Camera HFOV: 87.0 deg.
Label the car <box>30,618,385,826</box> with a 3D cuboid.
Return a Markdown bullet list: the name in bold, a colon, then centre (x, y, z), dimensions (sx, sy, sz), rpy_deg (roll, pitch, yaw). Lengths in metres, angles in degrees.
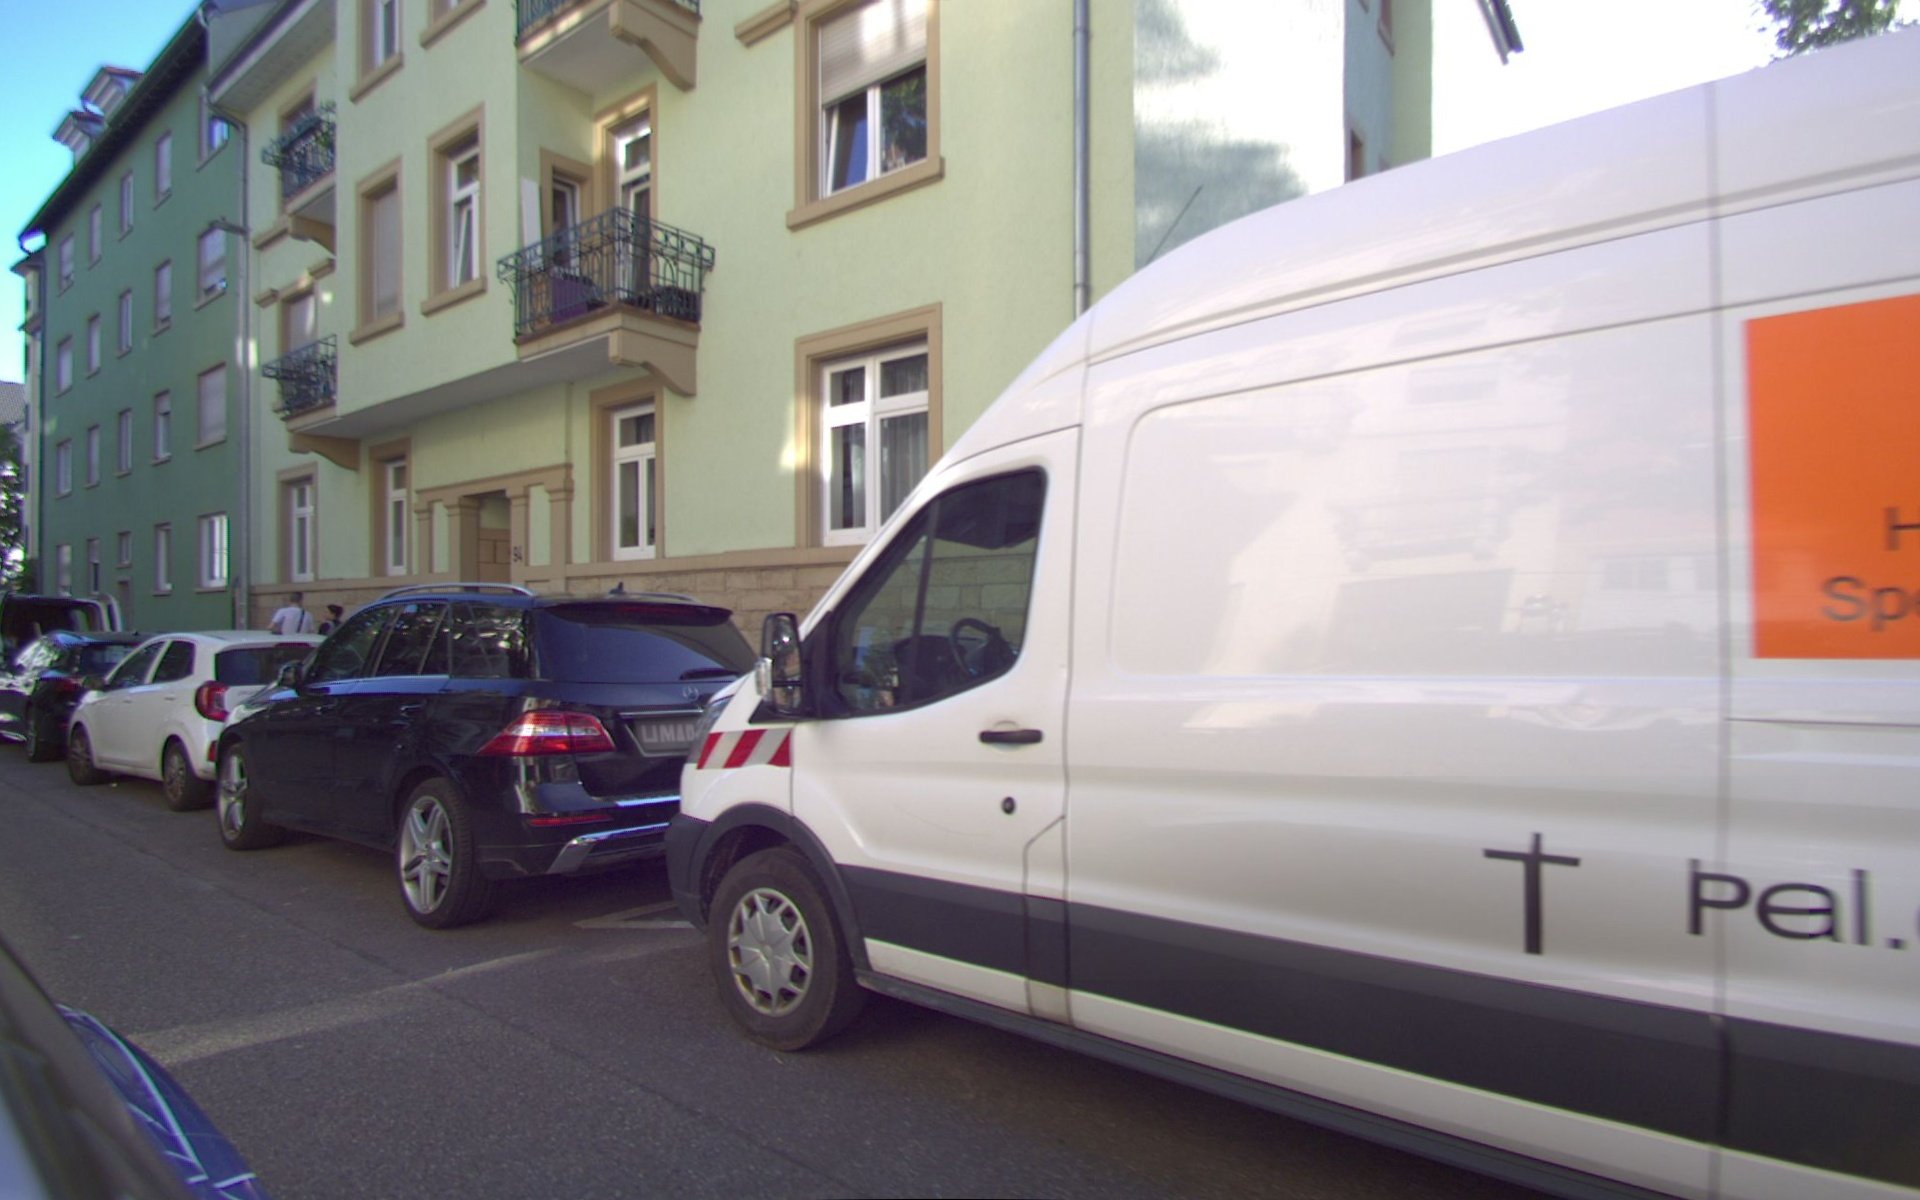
- **car**: centre (-7.249, 0.975, 9.614), dimensions (4.082, 1.564, 1.620), rpy_deg (-1, -2, 38)

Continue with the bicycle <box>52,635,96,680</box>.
- **bicycle**: centre (-23.577, 1.513, 26.921), dimensions (1.967, 1.083, 0.482), rpy_deg (-1, 2, 38)

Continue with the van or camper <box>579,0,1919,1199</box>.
- **van or camper**: centre (1.424, 0.235, 3.157), dimensions (5.843, 2.790, 2.108), rpy_deg (-1, -4, 38)

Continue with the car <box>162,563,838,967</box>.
- **car**: centre (-3.223, 0.781, 6.548), dimensions (4.962, 1.698, 1.857), rpy_deg (-1, -4, 38)

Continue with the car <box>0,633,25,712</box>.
- **car**: centre (-20.103, 1.365, 19.835), dimensions (4.356, 1.473, 1.816), rpy_deg (-1, -4, 37)

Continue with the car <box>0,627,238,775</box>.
- **car**: centre (-10.892, 1.117, 12.666), dimensions (4.818, 1.533, 1.749), rpy_deg (-1, -3, 38)

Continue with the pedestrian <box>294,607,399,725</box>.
- **pedestrian**: centre (-9.220, 0.954, 15.212), dimensions (1.241, 1.688, 0.983), rpy_deg (-1, -1, 37)

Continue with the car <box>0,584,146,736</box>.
- **car**: centre (-15.570, 0.928, 16.504), dimensions (5.233, 2.185, 2.231), rpy_deg (-1, -4, 36)

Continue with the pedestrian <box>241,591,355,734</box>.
- **pedestrian**: centre (-9.247, 0.840, 14.131), dimensions (1.241, 1.875, 0.983), rpy_deg (-1, -1, 37)
